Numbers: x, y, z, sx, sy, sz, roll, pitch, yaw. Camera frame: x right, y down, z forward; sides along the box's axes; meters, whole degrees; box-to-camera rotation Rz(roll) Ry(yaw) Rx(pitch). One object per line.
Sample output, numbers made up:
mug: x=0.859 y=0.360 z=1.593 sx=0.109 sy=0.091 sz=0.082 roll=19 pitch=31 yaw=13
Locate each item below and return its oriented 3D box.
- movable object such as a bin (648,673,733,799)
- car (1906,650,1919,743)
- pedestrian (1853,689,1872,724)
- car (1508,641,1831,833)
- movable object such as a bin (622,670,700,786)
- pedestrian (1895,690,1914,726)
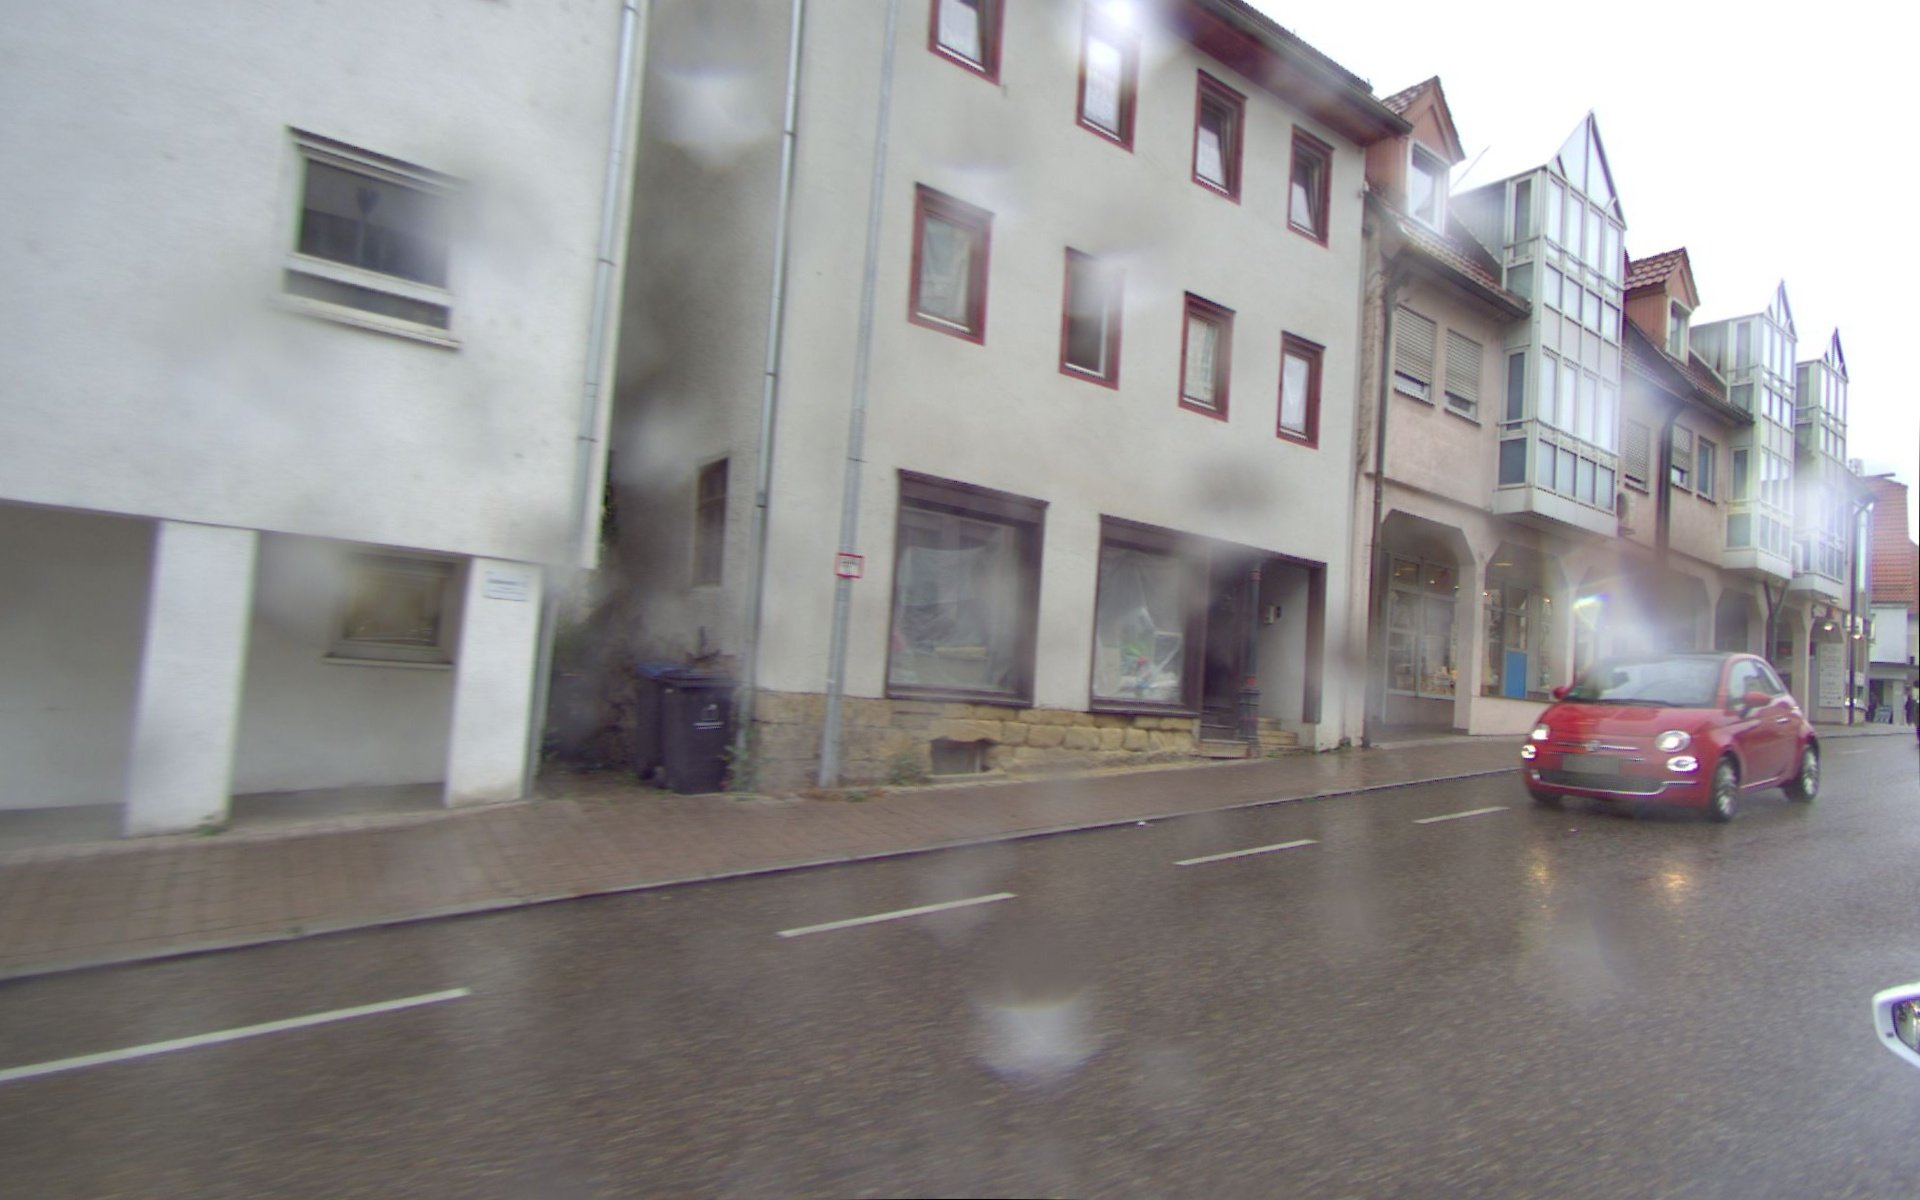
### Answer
movable object such as a bin: x=-2.360 y=1.165 z=8.784 sx=0.579 sy=1.020 sz=0.505 roll=1 pitch=-2 yaw=-33
car: x=19.218 y=1.781 z=18.639 sx=4.178 sy=1.651 sz=1.769 roll=3 pitch=-3 yaw=-38
pedestrian: x=41.423 y=4.892 z=46.093 sx=0.586 sy=1.579 sz=0.631 roll=-3 pitch=-6 yaw=43
car: x=6.998 y=1.215 z=9.826 sx=3.416 sy=1.555 sz=1.549 roll=2 pitch=-4 yaw=-36
movable object such as a bin: x=-2.821 y=1.184 z=9.461 sx=0.579 sy=1.020 sz=0.505 roll=1 pitch=-2 yaw=-33
pedestrian: x=43.019 y=4.915 z=45.753 sx=0.586 sy=1.579 sz=0.631 roll=-3 pitch=-6 yaw=43
